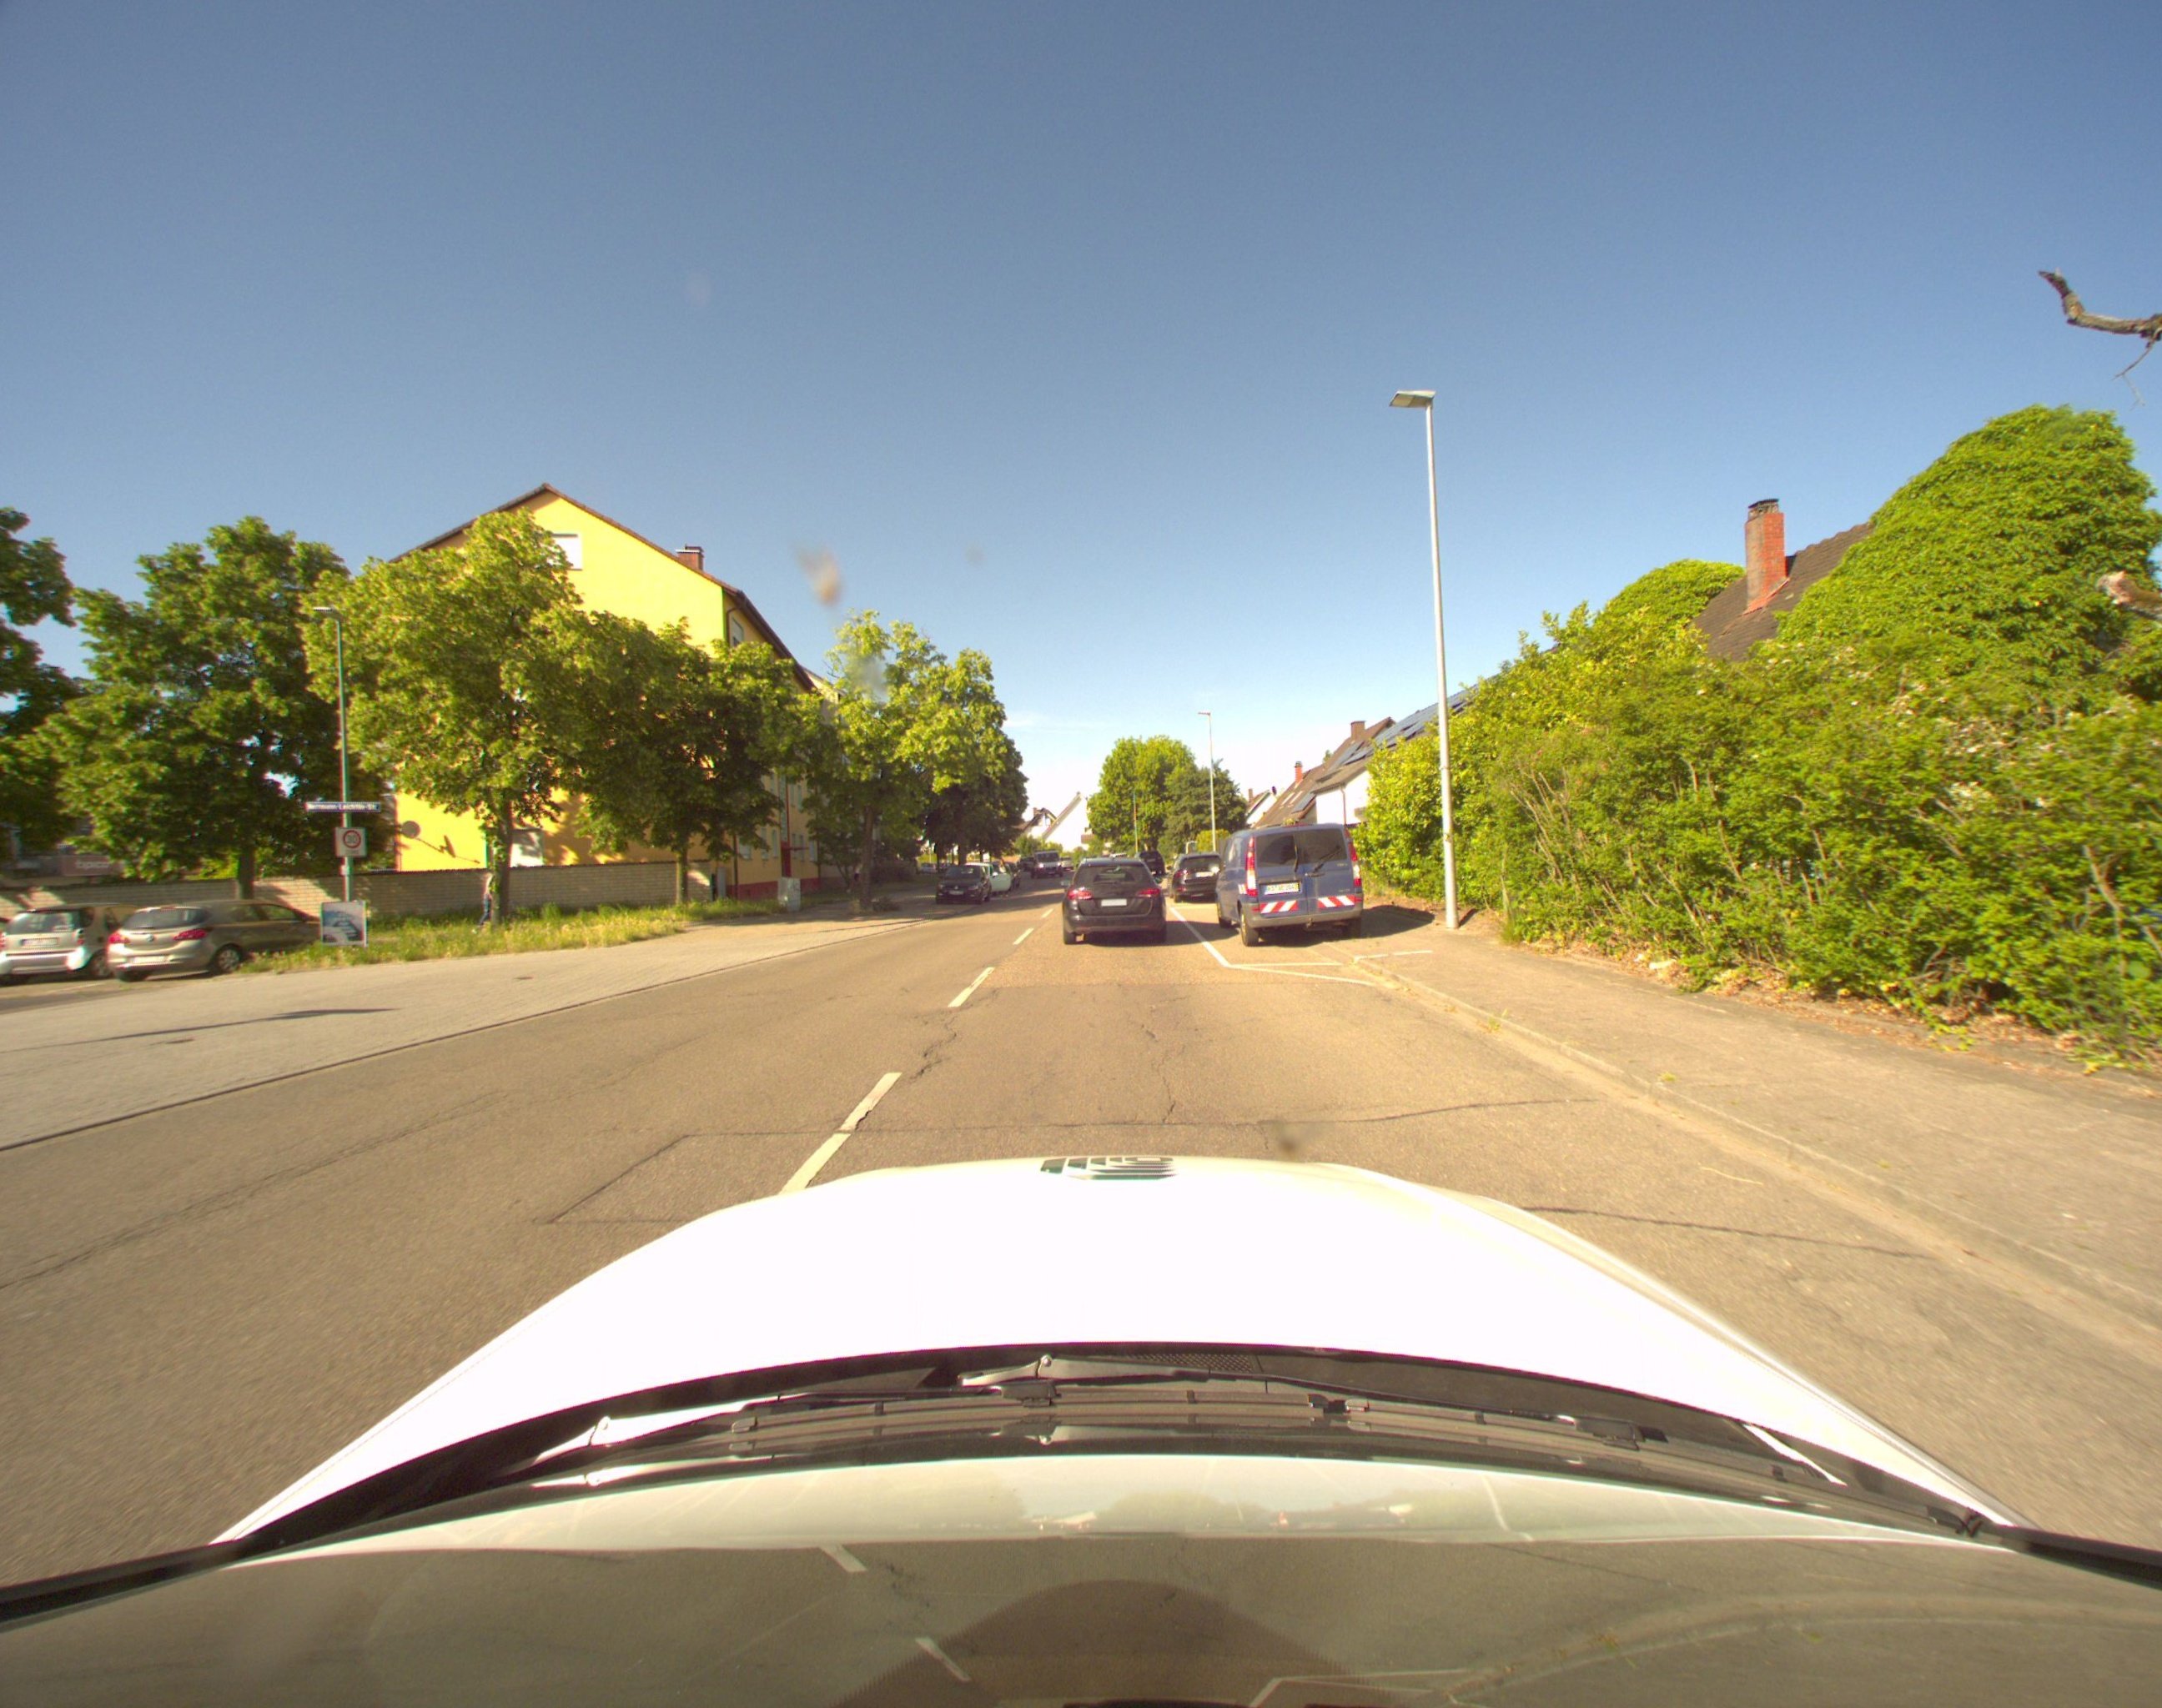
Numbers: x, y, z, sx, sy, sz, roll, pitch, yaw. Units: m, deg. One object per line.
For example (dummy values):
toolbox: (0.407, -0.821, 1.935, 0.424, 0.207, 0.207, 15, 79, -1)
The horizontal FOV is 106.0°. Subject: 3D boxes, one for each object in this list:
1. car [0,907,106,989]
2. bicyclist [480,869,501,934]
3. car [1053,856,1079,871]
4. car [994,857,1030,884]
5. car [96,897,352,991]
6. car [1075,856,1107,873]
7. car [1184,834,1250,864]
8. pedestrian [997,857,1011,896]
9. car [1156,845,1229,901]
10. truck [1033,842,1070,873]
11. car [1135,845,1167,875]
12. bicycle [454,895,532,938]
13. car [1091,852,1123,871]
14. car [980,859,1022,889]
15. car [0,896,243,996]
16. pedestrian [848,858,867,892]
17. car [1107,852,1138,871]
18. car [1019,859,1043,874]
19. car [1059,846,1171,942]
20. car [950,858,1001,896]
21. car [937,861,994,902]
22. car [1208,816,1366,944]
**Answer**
car: (-22.861, 2.041, 16.655, 1.700, 1.463, 3.864, -2, 2, -14)
bicyclist: (-15.649, 1.263, 21.594, 0.391, 1.686, 0.378, -2, -3, -30)
car: (-1.616, 1.044, 87.337, 1.823, 1.534, 4.237, -3, -1, -15)
car: (-4.147, 0.955, 49.324, 1.561, 1.530, 3.921, 1, 0, 3)
car: (-17.804, 1.787, 17.230, 1.729, 1.464, 3.867, -3, 0, -11)
car: (0.968, 1.015, 78.313, 2.009, 1.475, 4.273, -3, -1, -14)
car: (10.282, -0.382, 61.953, 4.663, 1.984, 2.144, -3, -1, 1)
pedestrian: (-3.528, 1.034, 37.414, 0.503, 1.761, 0.694, -3, -2, -2)
car: (3.402, 0.523, 25.591, 1.758, 1.480, 4.995, -4, 0, 3)
truck: (-2.409, 0.291, 67.788, 2.119, 2.334, 6.452, -4, -1, 5)
car: (4.478, 0.400, 52.545, 1.771, 1.724, 4.296, -3, -1, 2)
bicycle: (-15.572, 1.635, 21.614, 1.627, 1.011, 0.402, -2, 0, -30)
car: (2.318, 0.703, 73.077, 1.912, 1.600, 4.277, -3, -1, -11)
car: (-4.328, 1.081, 44.609, 1.650, 1.510, 4.004, -2, -1, 4)
car: (-20.817, 1.889, 17.735, 1.700, 1.621, 3.863, -2, 1, -14)
pedestrian: (-11.554, 1.100, 42.147, 0.683, 1.718, 0.720, -3, -2, 1)
car: (3.417, 0.654, 68.416, 1.760, 1.480, 4.282, -3, -1, -8)
car: (-6.053, 1.493, 97.910, 1.907, 1.666, 4.167, -3, -1, -16)
car: (0.618, 0.671, 15.183, 1.755, 1.491, 4.292, -2, -1, 2)
car: (-4.728, 1.045, 36.971, 1.695, 1.523, 4.051, -4, -2, 0)
car: (-4.388, 1.050, 31.405, 1.696, 1.480, 4.049, -1, -2, -1)
car: (3.520, 0.404, 14.812, 1.829, 1.907, 4.701, -2, 0, 3)
